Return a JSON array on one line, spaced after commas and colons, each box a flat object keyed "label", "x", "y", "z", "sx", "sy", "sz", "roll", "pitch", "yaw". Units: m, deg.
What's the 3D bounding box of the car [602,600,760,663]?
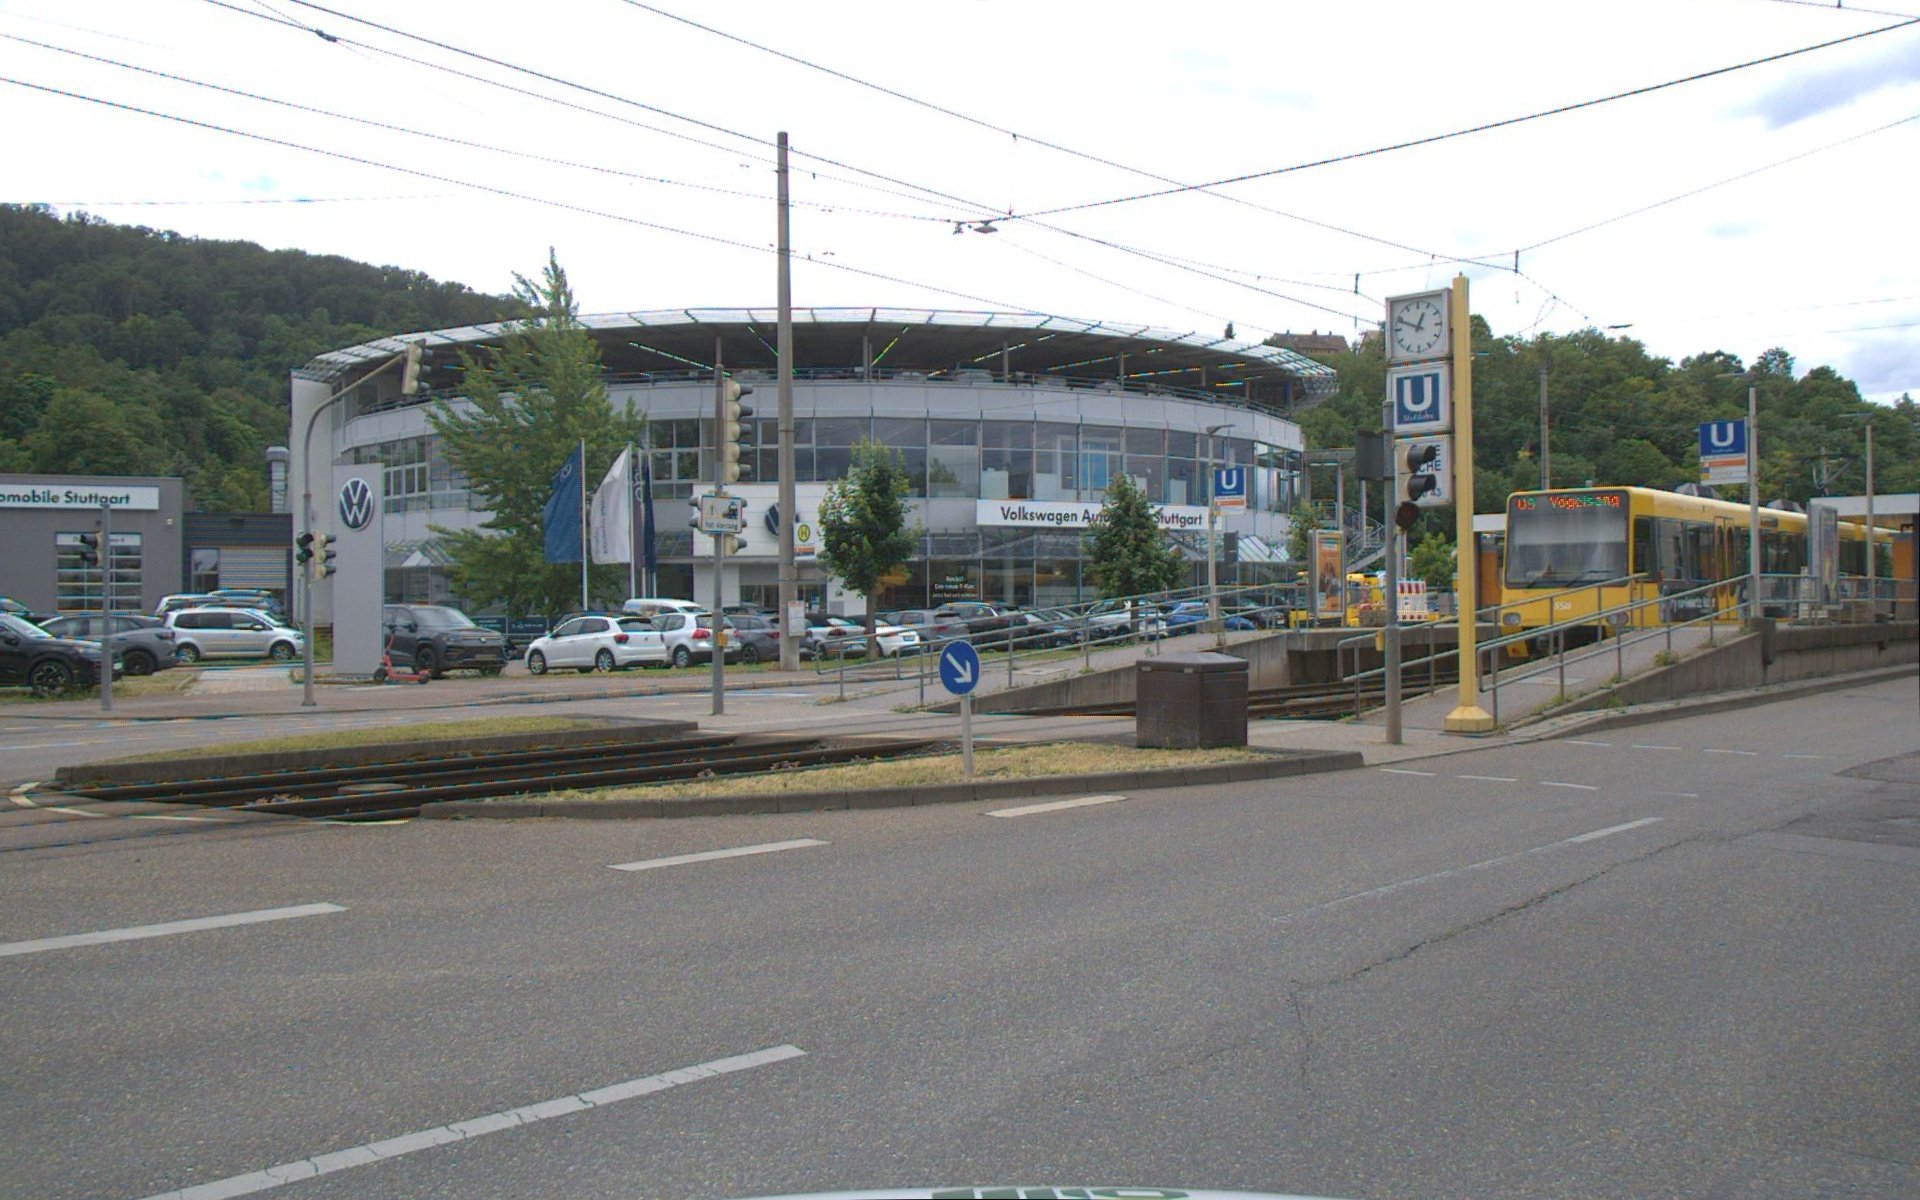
[{"label": "car", "x": -7.271, "y": 0.823, "z": 43.057, "sx": 3.920, "sy": 1.503, "sz": 1.807, "roll": -1, "pitch": -4, "yaw": 36}]

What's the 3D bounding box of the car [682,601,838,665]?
[{"label": "car", "x": -5.442, "y": 0.900, "z": 44.800, "sx": 3.920, "sy": 1.581, "sz": 1.920, "roll": -1, "pitch": -4, "yaw": 36}]

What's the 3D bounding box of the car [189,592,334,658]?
[{"label": "car", "x": -24.318, "y": 0.913, "z": 57.593, "sx": 4.443, "sy": 2.032, "sz": 1.982, "roll": 3, "pitch": -4, "yaw": -28}]

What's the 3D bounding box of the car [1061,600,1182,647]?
[{"label": "car", "x": 5.653, "y": 0.838, "z": 58.124, "sx": 3.933, "sy": 1.581, "sz": 1.914, "roll": -1, "pitch": 0, "yaw": 45}]

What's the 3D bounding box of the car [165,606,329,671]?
[{"label": "car", "x": -21.887, "y": 1.221, "z": 50.795, "sx": 4.444, "sy": 1.759, "sz": 1.981, "roll": 3, "pitch": -4, "yaw": -28}]

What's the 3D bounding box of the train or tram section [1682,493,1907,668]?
[{"label": "train or tram section", "x": 22.205, "y": -0.530, "z": 43.516, "sx": 2.698, "sy": 4.036, "sz": 11.851, "roll": -1, "pitch": 0, "yaw": 39}]

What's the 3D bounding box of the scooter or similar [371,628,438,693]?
[{"label": "scooter or similar", "x": -11.686, "y": 1.282, "z": 34.798, "sx": 1.188, "sy": 1.311, "sz": 0.569, "roll": 4, "pitch": -4, "yaw": -32}]

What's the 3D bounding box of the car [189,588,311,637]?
[{"label": "car", "x": -29.397, "y": 0.561, "z": 68.539, "sx": 4.444, "sy": 1.759, "sz": 1.981, "roll": 3, "pitch": -4, "yaw": -28}]

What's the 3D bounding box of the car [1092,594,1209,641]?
[{"label": "car", "x": 6.943, "y": 0.666, "z": 60.493, "sx": 3.933, "sy": 1.581, "sz": 1.913, "roll": -1, "pitch": -4, "yaw": 45}]

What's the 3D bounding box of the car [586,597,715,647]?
[{"label": "car", "x": -10.484, "y": 0.750, "z": 56.086, "sx": 3.910, "sy": 1.581, "sz": 1.924, "roll": 0, "pitch": -4, "yaw": 28}]

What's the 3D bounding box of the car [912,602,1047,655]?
[{"label": "car", "x": 0.600, "y": 0.894, "z": 52.410, "sx": 3.920, "sy": 1.581, "sz": 1.920, "roll": -1, "pitch": 0, "yaw": 36}]

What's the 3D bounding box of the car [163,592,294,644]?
[{"label": "car", "x": -28.388, "y": 0.728, "z": 64.203, "sx": 4.444, "sy": 1.759, "sz": 1.981, "roll": 3, "pitch": -4, "yaw": -28}]

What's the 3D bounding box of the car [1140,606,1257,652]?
[{"label": "car", "x": 8.850, "y": 1.103, "z": 61.459, "sx": 3.933, "sy": 1.581, "sz": 1.913, "roll": -1, "pitch": -4, "yaw": 45}]

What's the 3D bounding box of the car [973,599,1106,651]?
[{"label": "car", "x": 2.584, "y": 0.810, "z": 53.865, "sx": 3.920, "sy": 1.581, "sz": 1.920, "roll": -1, "pitch": 1, "yaw": 36}]

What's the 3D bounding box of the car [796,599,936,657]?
[{"label": "car", "x": -2.803, "y": 0.842, "z": 48.959, "sx": 3.920, "sy": 1.581, "sz": 1.722, "roll": -1, "pitch": -4, "yaw": 36}]

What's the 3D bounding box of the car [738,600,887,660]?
[{"label": "car", "x": -4.204, "y": 0.862, "z": 46.998, "sx": 3.920, "sy": 1.581, "sz": 1.920, "roll": -1, "pitch": -4, "yaw": 36}]

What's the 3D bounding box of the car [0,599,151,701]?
[{"label": "car", "x": -17.366, "y": 0.878, "z": 30.577, "sx": 3.919, "sy": 1.668, "sz": 1.994, "roll": 3, "pitch": 1, "yaw": -14}]

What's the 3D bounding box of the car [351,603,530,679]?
[{"label": "car", "x": -11.938, "y": 0.923, "z": 37.926, "sx": 3.920, "sy": 1.669, "sz": 1.992, "roll": -1, "pitch": -1, "yaw": 36}]

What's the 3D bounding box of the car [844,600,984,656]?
[{"label": "car", "x": -1.416, "y": 0.856, "z": 50.754, "sx": 3.920, "sy": 1.581, "sz": 1.920, "roll": -1, "pitch": -4, "yaw": 36}]

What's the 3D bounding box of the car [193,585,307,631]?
[{"label": "car", "x": -31.432, "y": 0.384, "z": 73.269, "sx": 4.444, "sy": 1.759, "sz": 1.981, "roll": 3, "pitch": -4, "yaw": -28}]

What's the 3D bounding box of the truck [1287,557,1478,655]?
[{"label": "truck", "x": 14.792, "y": 0.209, "z": 57.381, "sx": 2.655, "sy": 3.132, "sz": 8.954, "roll": -1, "pitch": -1, "yaw": 41}]

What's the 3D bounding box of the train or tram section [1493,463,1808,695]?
[{"label": "train or tram section", "x": 14.676, "y": -0.445, "z": 34.300, "sx": 2.698, "sy": 4.036, "sz": 11.851, "roll": -1, "pitch": 0, "yaw": 39}]

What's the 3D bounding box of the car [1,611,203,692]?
[{"label": "car", "x": -20.292, "y": 1.243, "z": 39.166, "sx": 3.955, "sy": 1.736, "sz": 1.974, "roll": 4, "pitch": -4, "yaw": -36}]

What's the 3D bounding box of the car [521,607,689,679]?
[{"label": "car", "x": -8.897, "y": 1.082, "z": 41.387, "sx": 3.920, "sy": 1.669, "sz": 1.992, "roll": -1, "pitch": -4, "yaw": 36}]
